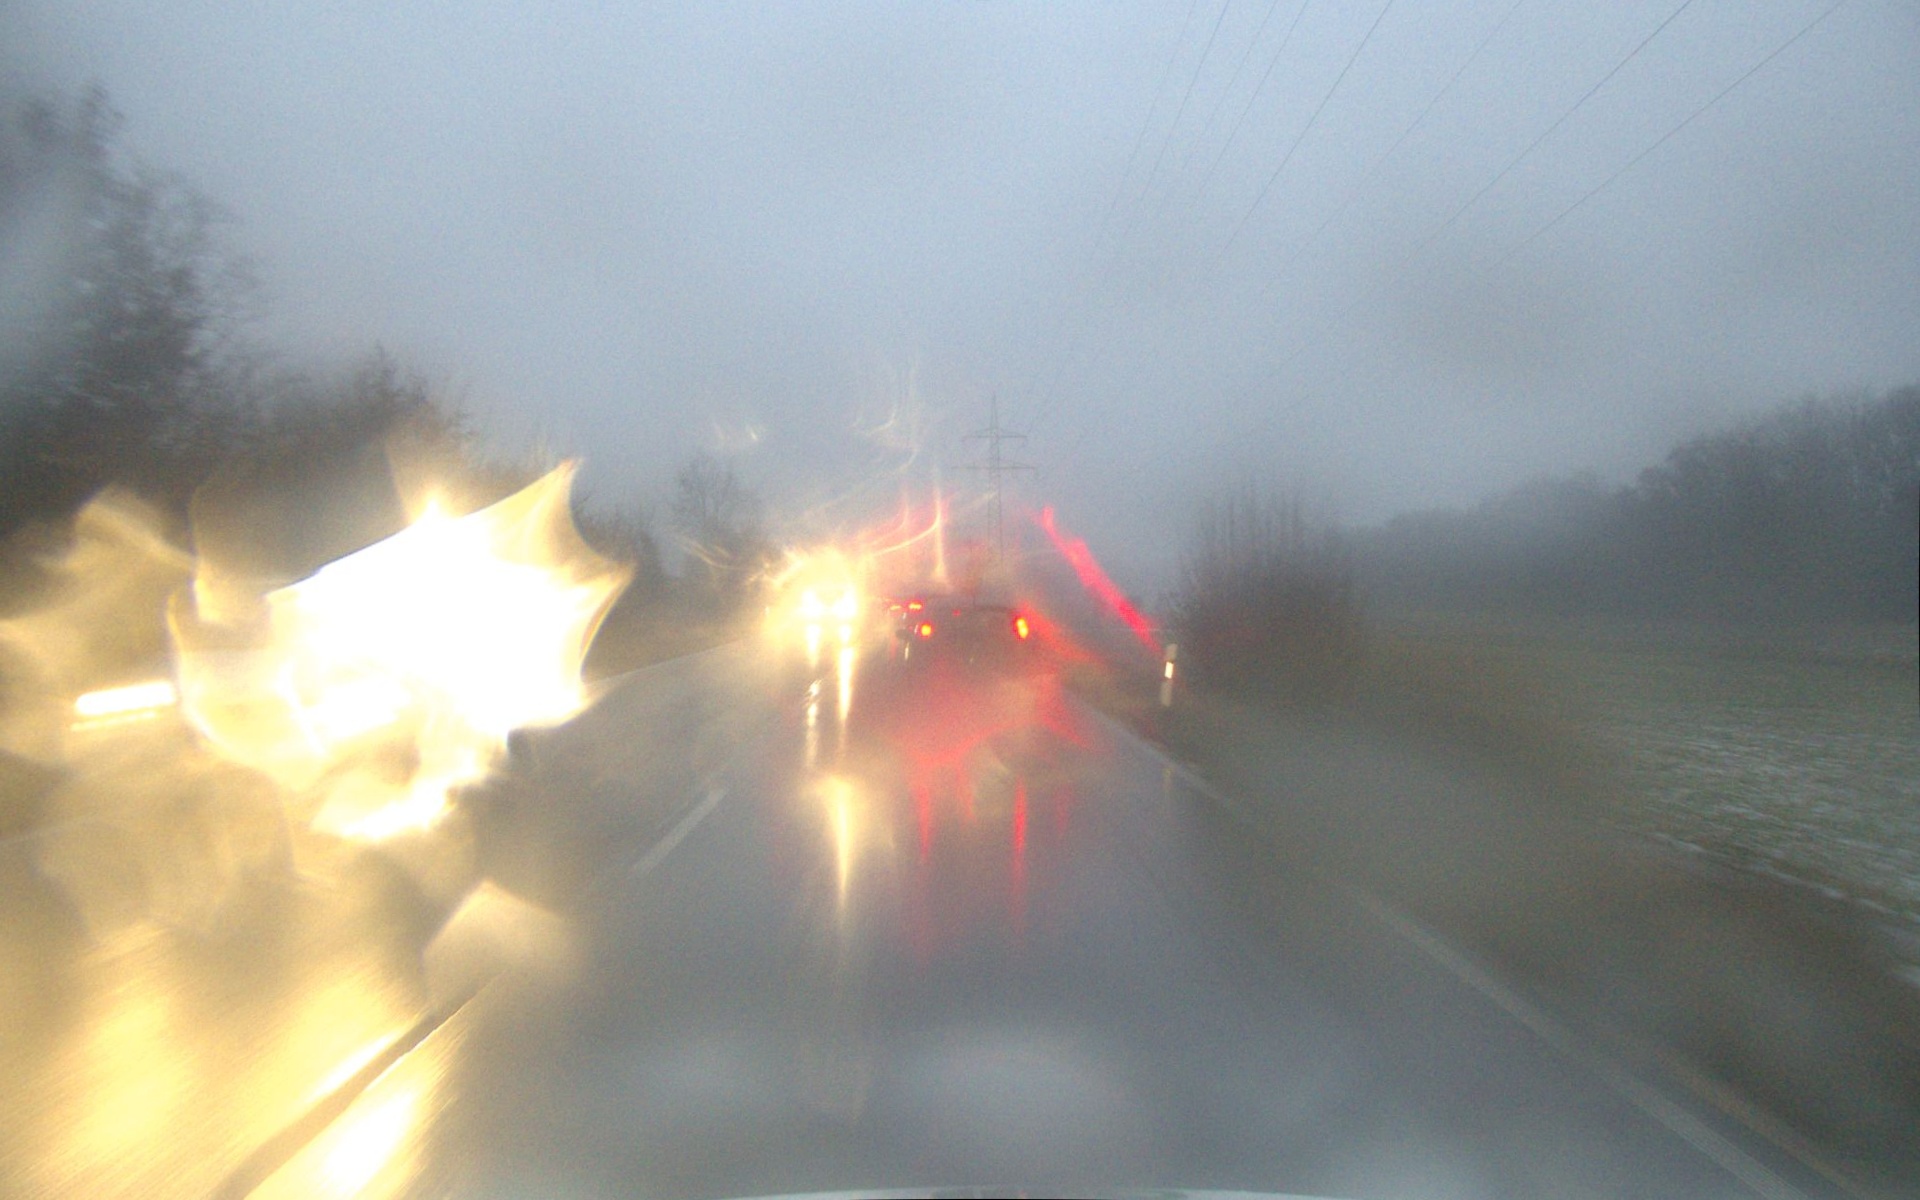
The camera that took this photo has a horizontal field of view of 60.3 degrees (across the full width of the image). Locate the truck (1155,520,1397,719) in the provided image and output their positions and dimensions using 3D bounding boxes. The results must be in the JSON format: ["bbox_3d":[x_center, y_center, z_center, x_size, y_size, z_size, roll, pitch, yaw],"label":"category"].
[{"bbox_3d":[5.322,0.304,29.305,2.483,3.030,7.854,1,0,-2],"label":"truck"}]

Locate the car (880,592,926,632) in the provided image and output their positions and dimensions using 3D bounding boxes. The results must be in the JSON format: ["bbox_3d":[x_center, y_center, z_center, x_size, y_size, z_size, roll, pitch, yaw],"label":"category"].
[{"bbox_3d":[-2.413,0.483,69.145,1.734,1.619,4.160,1,0,-4],"label":"car"}]

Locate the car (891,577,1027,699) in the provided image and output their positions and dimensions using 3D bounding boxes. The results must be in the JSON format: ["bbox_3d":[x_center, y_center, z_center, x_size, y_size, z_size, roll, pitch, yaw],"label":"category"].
[{"bbox_3d":[-0.078,0.448,21.065,1.471,1.423,3.196,1,0,-5],"label":"car"}]

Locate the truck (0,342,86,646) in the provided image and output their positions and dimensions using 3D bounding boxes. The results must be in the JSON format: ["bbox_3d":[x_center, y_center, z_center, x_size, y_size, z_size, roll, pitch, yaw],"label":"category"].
[{"bbox_3d":[-28.329,-2.792,26.803,7.390,7.848,40.142,1,0,-1],"label":"truck"}]

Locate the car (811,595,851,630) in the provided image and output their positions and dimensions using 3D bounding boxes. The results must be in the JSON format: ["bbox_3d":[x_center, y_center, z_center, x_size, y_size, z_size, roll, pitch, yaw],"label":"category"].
[{"bbox_3d":[-6.247,0.581,80.512,1.733,1.619,4.163,1,0,-1],"label":"car"}]

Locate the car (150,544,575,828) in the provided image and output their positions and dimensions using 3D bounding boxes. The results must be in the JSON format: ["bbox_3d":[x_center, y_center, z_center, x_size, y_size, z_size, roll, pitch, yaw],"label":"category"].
[{"bbox_3d":[-3.981,0.496,11.737,1.638,1.659,3.975,1,0,-1],"label":"car"}]

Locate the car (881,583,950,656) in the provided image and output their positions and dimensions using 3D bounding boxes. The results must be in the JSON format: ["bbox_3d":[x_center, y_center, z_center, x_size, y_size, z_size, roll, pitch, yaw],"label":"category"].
[{"bbox_3d":[-1.362,0.549,48.952,1.816,2.049,3.996,1,0,-5],"label":"car"}]
